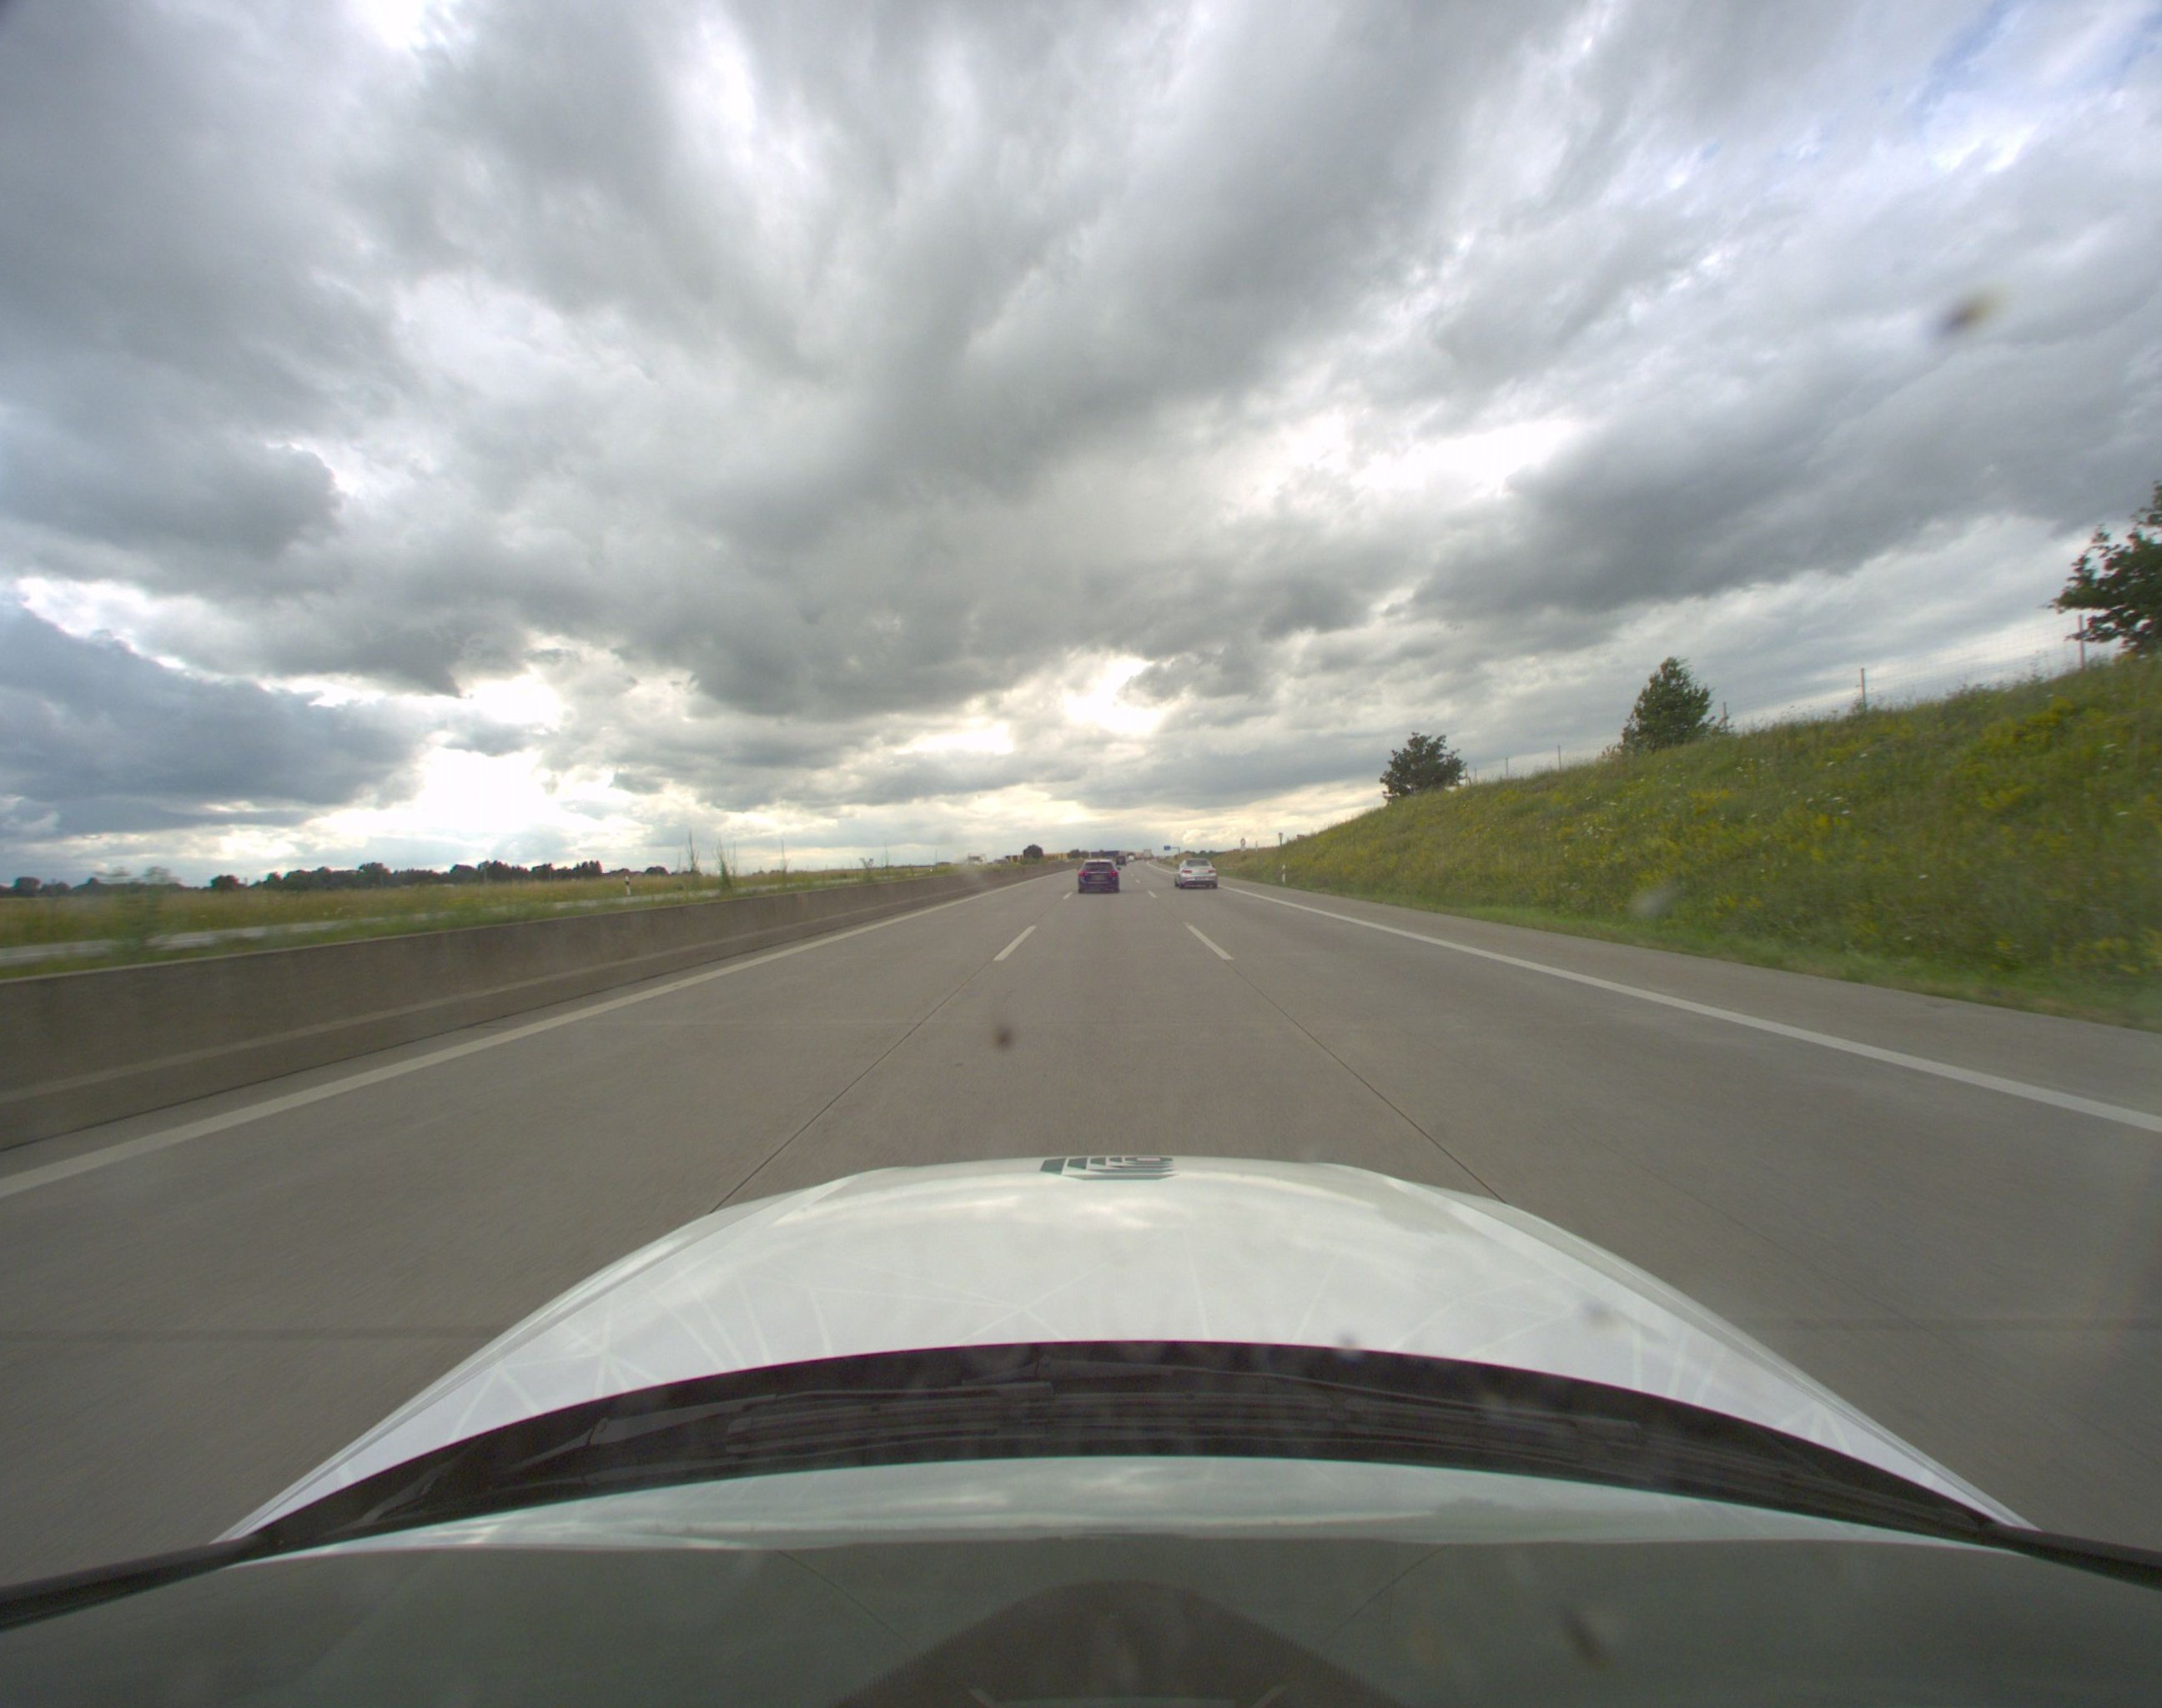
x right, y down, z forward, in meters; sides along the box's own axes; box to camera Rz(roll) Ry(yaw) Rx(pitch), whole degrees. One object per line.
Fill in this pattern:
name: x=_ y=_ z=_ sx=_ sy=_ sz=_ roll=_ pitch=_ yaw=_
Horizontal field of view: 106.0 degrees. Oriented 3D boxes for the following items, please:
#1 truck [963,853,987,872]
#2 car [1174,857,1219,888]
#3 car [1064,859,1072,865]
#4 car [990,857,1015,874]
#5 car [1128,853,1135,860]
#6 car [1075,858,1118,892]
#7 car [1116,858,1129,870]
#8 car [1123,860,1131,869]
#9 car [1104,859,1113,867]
truck: x=-14.952 y=1.233 z=115.453 sx=2.136 sy=2.567 sz=7.451 roll=-1 pitch=-1 yaw=2
car: x=5.538 y=0.864 z=39.509 sx=1.781 sy=1.403 sz=4.224 roll=-1 pitch=-1 yaw=3
car: x=-3.559 y=2.278 z=227.451 sx=1.771 sy=1.507 sz=4.520 roll=-1 pitch=-1 yaw=3
car: x=-8.450 y=1.181 z=87.549 sx=1.986 sy=1.781 sz=4.933 roll=-1 pitch=0 yaw=2
car: x=15.300 y=0.878 z=245.712 sx=1.985 sy=2.014 sz=4.003 roll=-1 pitch=-1 yaw=3
car: x=0.715 y=0.896 z=36.065 sx=1.768 sy=1.413 sz=4.001 roll=-1 pitch=-1 yaw=1
car: x=7.312 y=1.766 z=144.075 sx=1.988 sy=2.014 sz=3.998 roll=0 pitch=-1 yaw=-1
car: x=11.181 y=2.491 z=197.825 sx=1.984 sy=2.014 sz=4.005 roll=0 pitch=0 yaw=5
car: x=6.385 y=2.155 z=191.563 sx=2.038 sy=2.014 sz=4.002 roll=-1 pitch=-1 yaw=2
